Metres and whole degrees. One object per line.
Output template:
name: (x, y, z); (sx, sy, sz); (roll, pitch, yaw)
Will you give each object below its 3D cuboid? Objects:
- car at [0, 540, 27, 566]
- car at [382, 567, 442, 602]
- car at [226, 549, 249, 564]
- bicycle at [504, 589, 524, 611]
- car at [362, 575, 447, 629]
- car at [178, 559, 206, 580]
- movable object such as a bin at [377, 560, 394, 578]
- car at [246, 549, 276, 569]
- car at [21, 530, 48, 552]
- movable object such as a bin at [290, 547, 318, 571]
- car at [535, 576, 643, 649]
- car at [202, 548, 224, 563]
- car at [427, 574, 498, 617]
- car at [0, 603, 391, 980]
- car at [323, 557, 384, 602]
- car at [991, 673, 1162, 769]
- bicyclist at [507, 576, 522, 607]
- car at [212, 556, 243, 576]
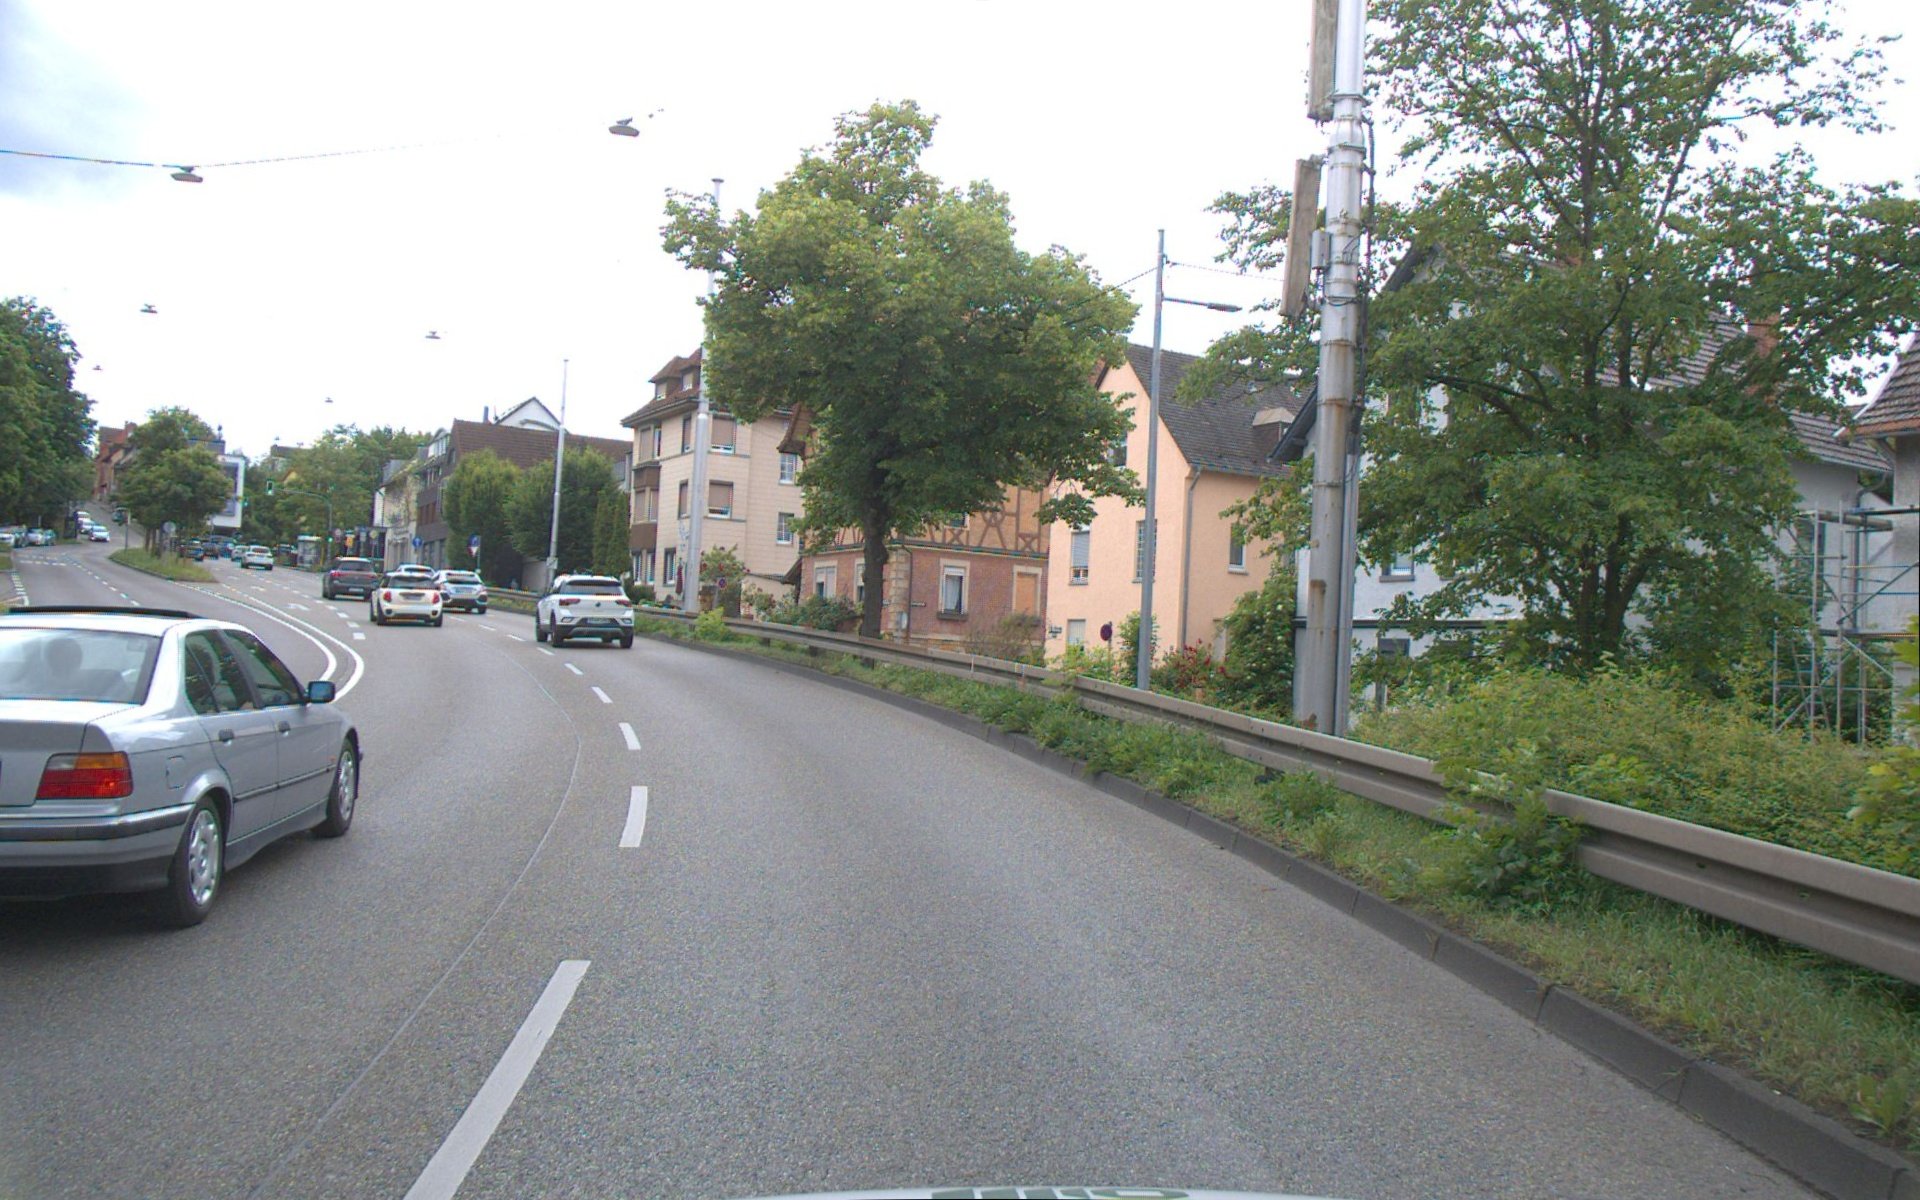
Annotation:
car: (-70.061, -3.484, 122.076); (1.840, 1.699, 4.239); (6, 0, -29)
car: (-23.206, -0.650, 69.969); (1.705, 1.400, 3.421); (1, 1, -31)
car: (-68.299, -4.081, 156.334); (1.703, 1.400, 3.425); (1, 1, -28)
bicycle: (-23.541, -0.013, 87.338); (0.560, 1.081, 1.986); (1, 2, -29)
car: (-15.404, 0.046, 45.783); (1.703, 1.400, 3.425); (1, 1, -28)
car: (-61.245, -2.433, 131.859); (1.704, 1.610, 3.422); (1, 1, -30)
movable object such as a bin: (-50.357, -2.704, 145.021); (1.182, 1.432, 0.705); (6, -1, -28)
car: (-49.985, -2.928, 118.280); (1.703, 1.400, 3.425); (1, 1, -28)
car: (-79.270, -5.044, 141.633); (1.840, 1.621, 4.239); (6, 0, -29)
movable object such as a bin: (-57.365, -3.601, 144.583); (1.877, 1.902, 1.510); (6, -1, -36)
car: (-8.389, 0.257, 37.189); (1.773, 1.545, 3.432); (1, 1, -23)
car: (-71.845, -4.232, 158.984); (1.703, 1.400, 3.425); (1, 1, -28)
car: (-17.243, -0.185, 57.219); (1.703, 1.400, 3.424); (1, 1, -28)
car: (-4.230, 0.731, 8.518); (1.604, 1.407, 4.611); (0, 0, -8)
car: (-23.692, -0.817, 64.552); (1.704, 1.668, 3.422); (1, 1, -30)
car: (2.611, 2.748, 38.046); (1.764, 1.699, 4.159); (5, 0, -31)
bicyclist: (-23.486, -0.448, 87.150); (0.560, 1.551, 0.950); (1, 2, -29)
car: (-78.352, -3.665, 176.864); (1.956, 2.049, 3.994); (1, 1, -8)
